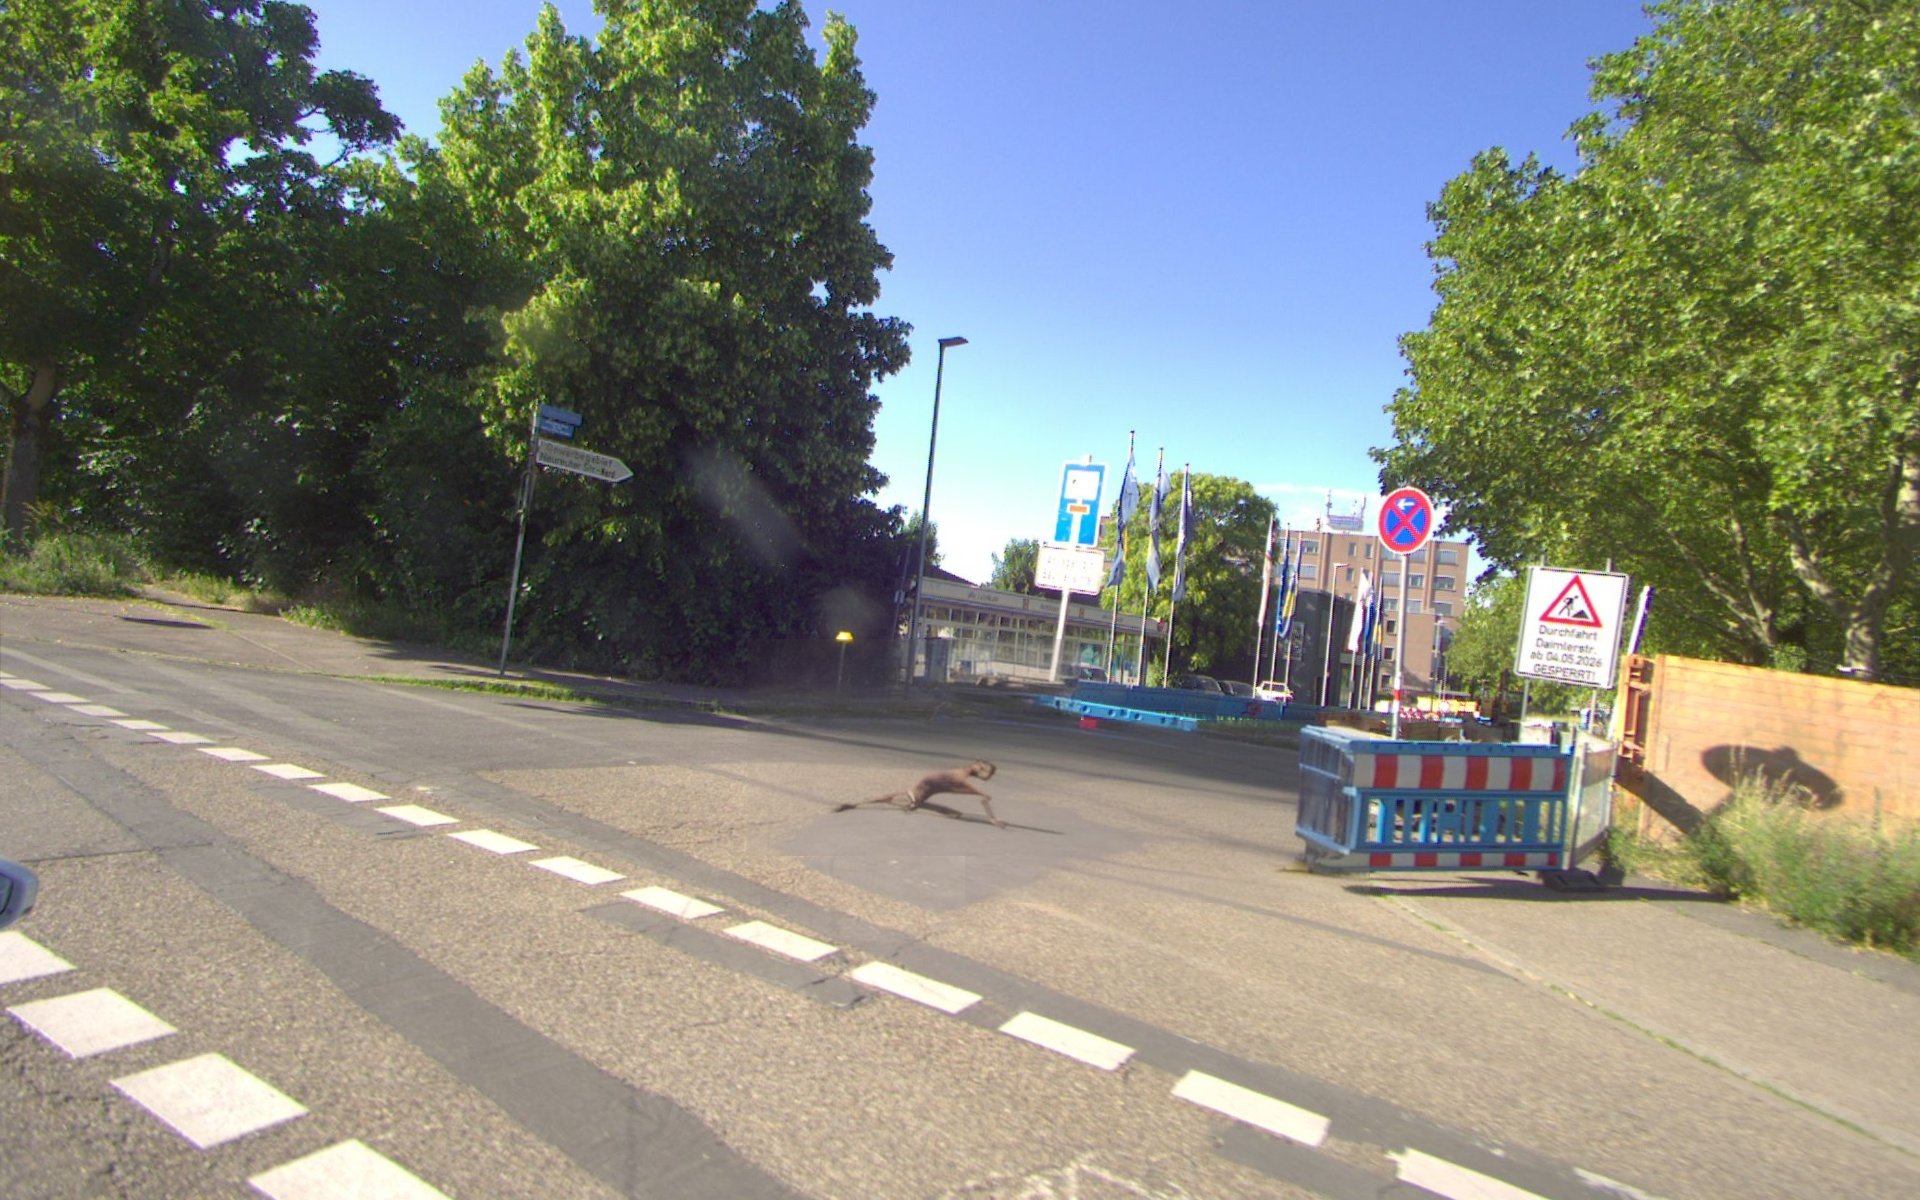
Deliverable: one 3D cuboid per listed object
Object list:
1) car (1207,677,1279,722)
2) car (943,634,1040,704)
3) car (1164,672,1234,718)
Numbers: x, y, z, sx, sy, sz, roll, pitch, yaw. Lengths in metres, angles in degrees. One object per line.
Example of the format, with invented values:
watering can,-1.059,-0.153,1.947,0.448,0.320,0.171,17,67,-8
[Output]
car,12.540,4.381,44.726,1.567,1.553,3.334,7,-2,-11
car,0.900,2.067,30.893,1.663,1.683,3.760,7,-2,-17
car,10.293,4.080,43.565,1.567,1.525,3.334,7,-2,-11
